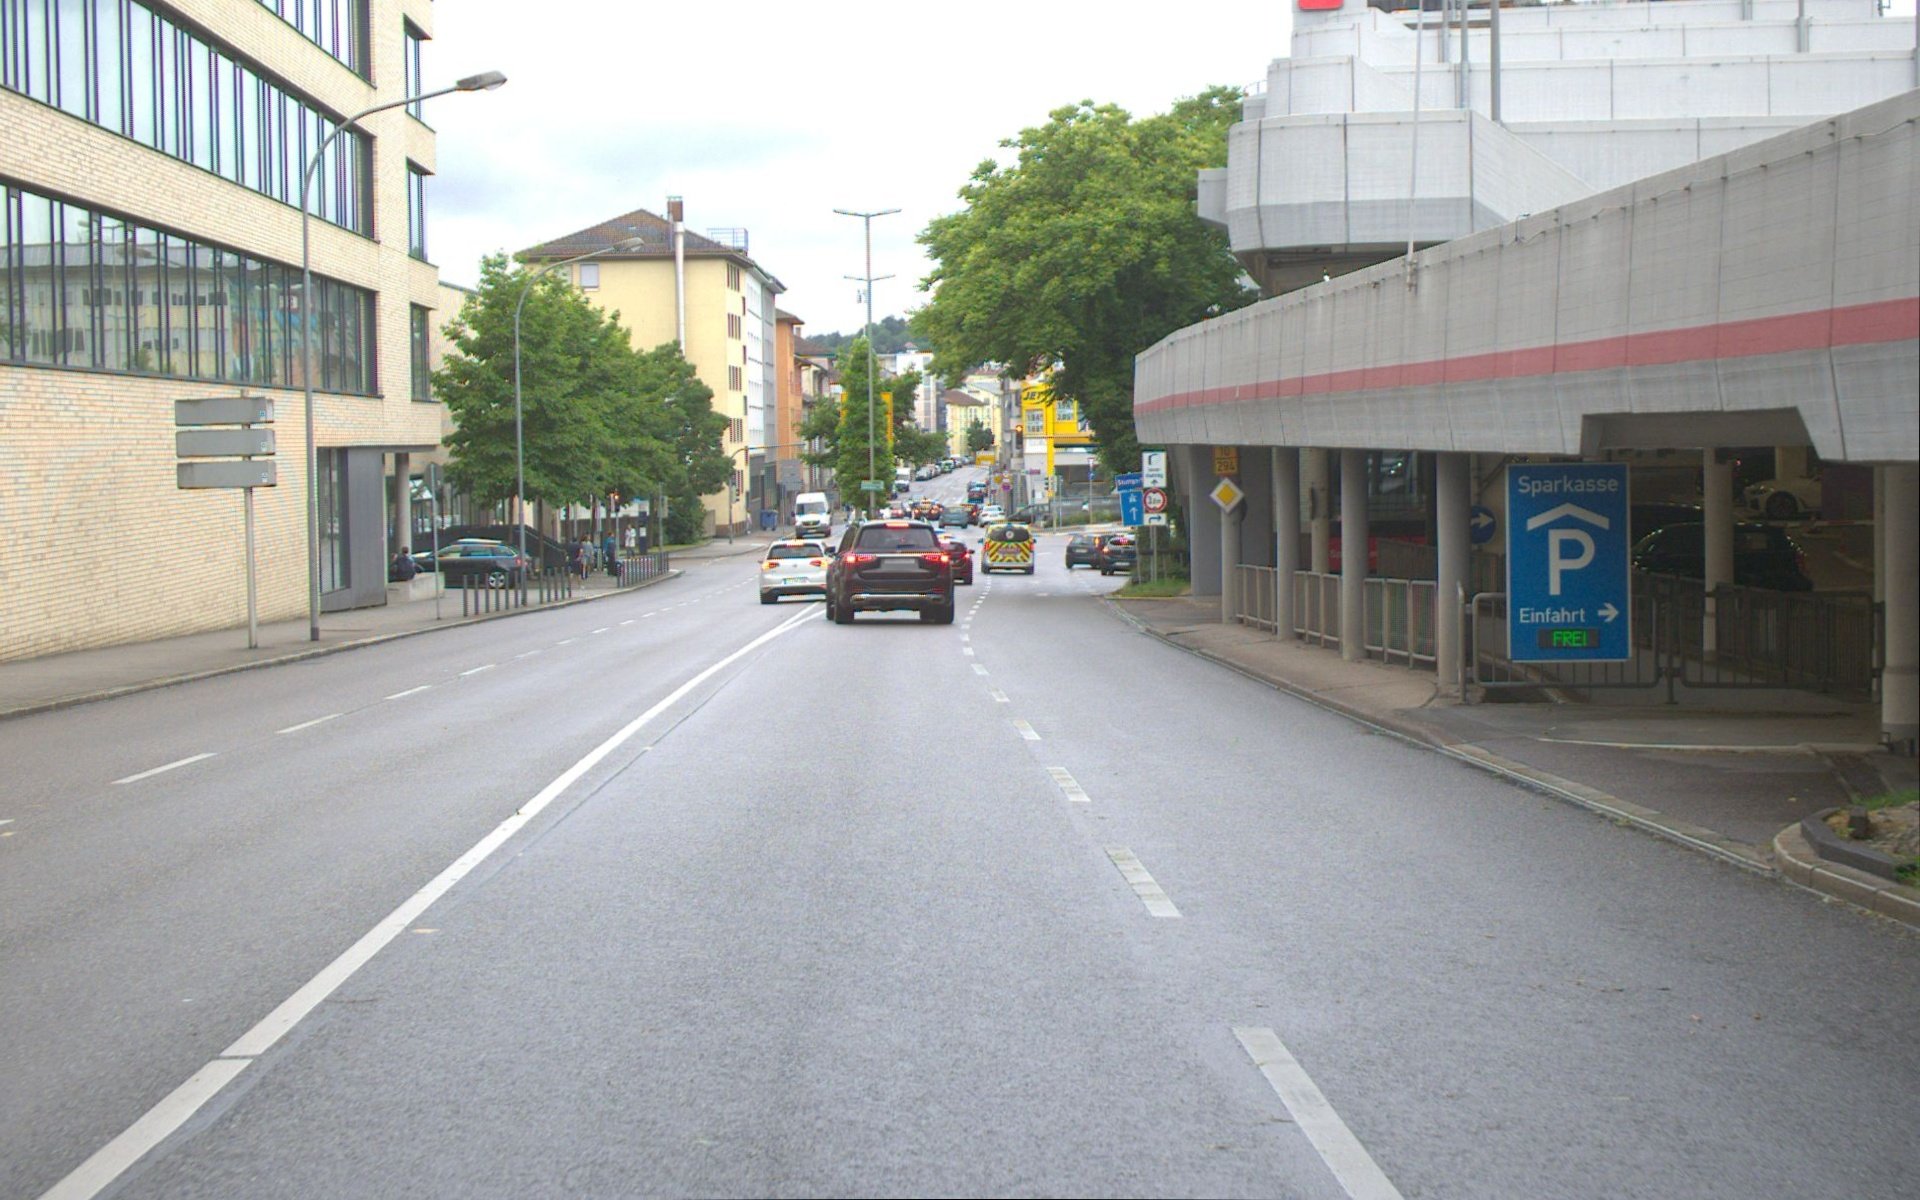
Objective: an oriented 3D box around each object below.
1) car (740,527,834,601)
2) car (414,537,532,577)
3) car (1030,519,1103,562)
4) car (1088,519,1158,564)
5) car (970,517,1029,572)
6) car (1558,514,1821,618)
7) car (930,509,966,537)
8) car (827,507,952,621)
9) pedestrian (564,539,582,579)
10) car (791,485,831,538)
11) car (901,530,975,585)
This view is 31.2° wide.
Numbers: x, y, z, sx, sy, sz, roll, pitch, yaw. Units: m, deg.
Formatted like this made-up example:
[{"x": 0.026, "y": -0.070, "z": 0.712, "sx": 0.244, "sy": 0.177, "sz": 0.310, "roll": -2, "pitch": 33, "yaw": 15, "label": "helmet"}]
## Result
[{"x": -4.095, "y": -0.860, "z": 80.849, "sx": 1.993, "sy": 1.674, "sz": 4.001, "roll": -1, "pitch": 1, "yaw": -6, "label": "car"}, {"x": -15.543, "y": -1.368, "z": 109.833, "sx": 3.654, "sy": 1.230, "sz": 1.441, "roll": -1, "pitch": 1, "yaw": -6, "label": "car"}, {"x": 4.323, "y": -2.423, "z": 138.794, "sx": 1.995, "sy": 1.674, "sz": 3.997, "roll": 0, "pitch": 1, "yaw": 16, "label": "car"}, {"x": 6.259, "y": -2.258, "z": 131.299, "sx": 1.995, "sy": 1.674, "sz": 3.998, "roll": 0, "pitch": 1, "yaw": 13, "label": "car"}, {"x": 1.469, "y": -2.107, "z": 129.847, "sx": 2.173, "sy": 1.997, "sz": 4.000, "roll": -1, "pitch": 1, "yaw": 0, "label": "car"}, {"x": 10.746, "y": -0.511, "z": 50.845, "sx": 3.720, "sy": 1.470, "sz": 1.686, "roll": -1, "pitch": 1, "yaw": 10, "label": "car"}, {"x": -0.774, "y": -4.907, "z": 219.906, "sx": 1.993, "sy": 1.674, "sz": 4.001, "roll": -1, "pitch": 3, "yaw": -4, "label": "car"}, {"x": -1.189, "y": -0.651, "z": 59.896, "sx": 2.091, "sy": 1.904, "sz": 4.100, "roll": 0, "pitch": 1, "yaw": 0, "label": "car"}, {"x": -12.403, "y": -1.328, "z": 110.197, "sx": 0.454, "sy": 1.274, "sz": 0.454, "roll": 0, "pitch": 1, "yaw": 10, "label": "pedestrian"}, {"x": -8.867, "y": -5.234, "z": 204.575, "sx": 2.183, "sy": 3.087, "sz": 4.932, "roll": -1, "pitch": 1, "yaw": -5, "label": "car"}, {"x": -0.679, "y": -1.381, "z": 109.755, "sx": 1.994, "sy": 1.674, "sz": 4.000, "roll": -1, "pitch": 1, "yaw": 5, "label": "car"}]
